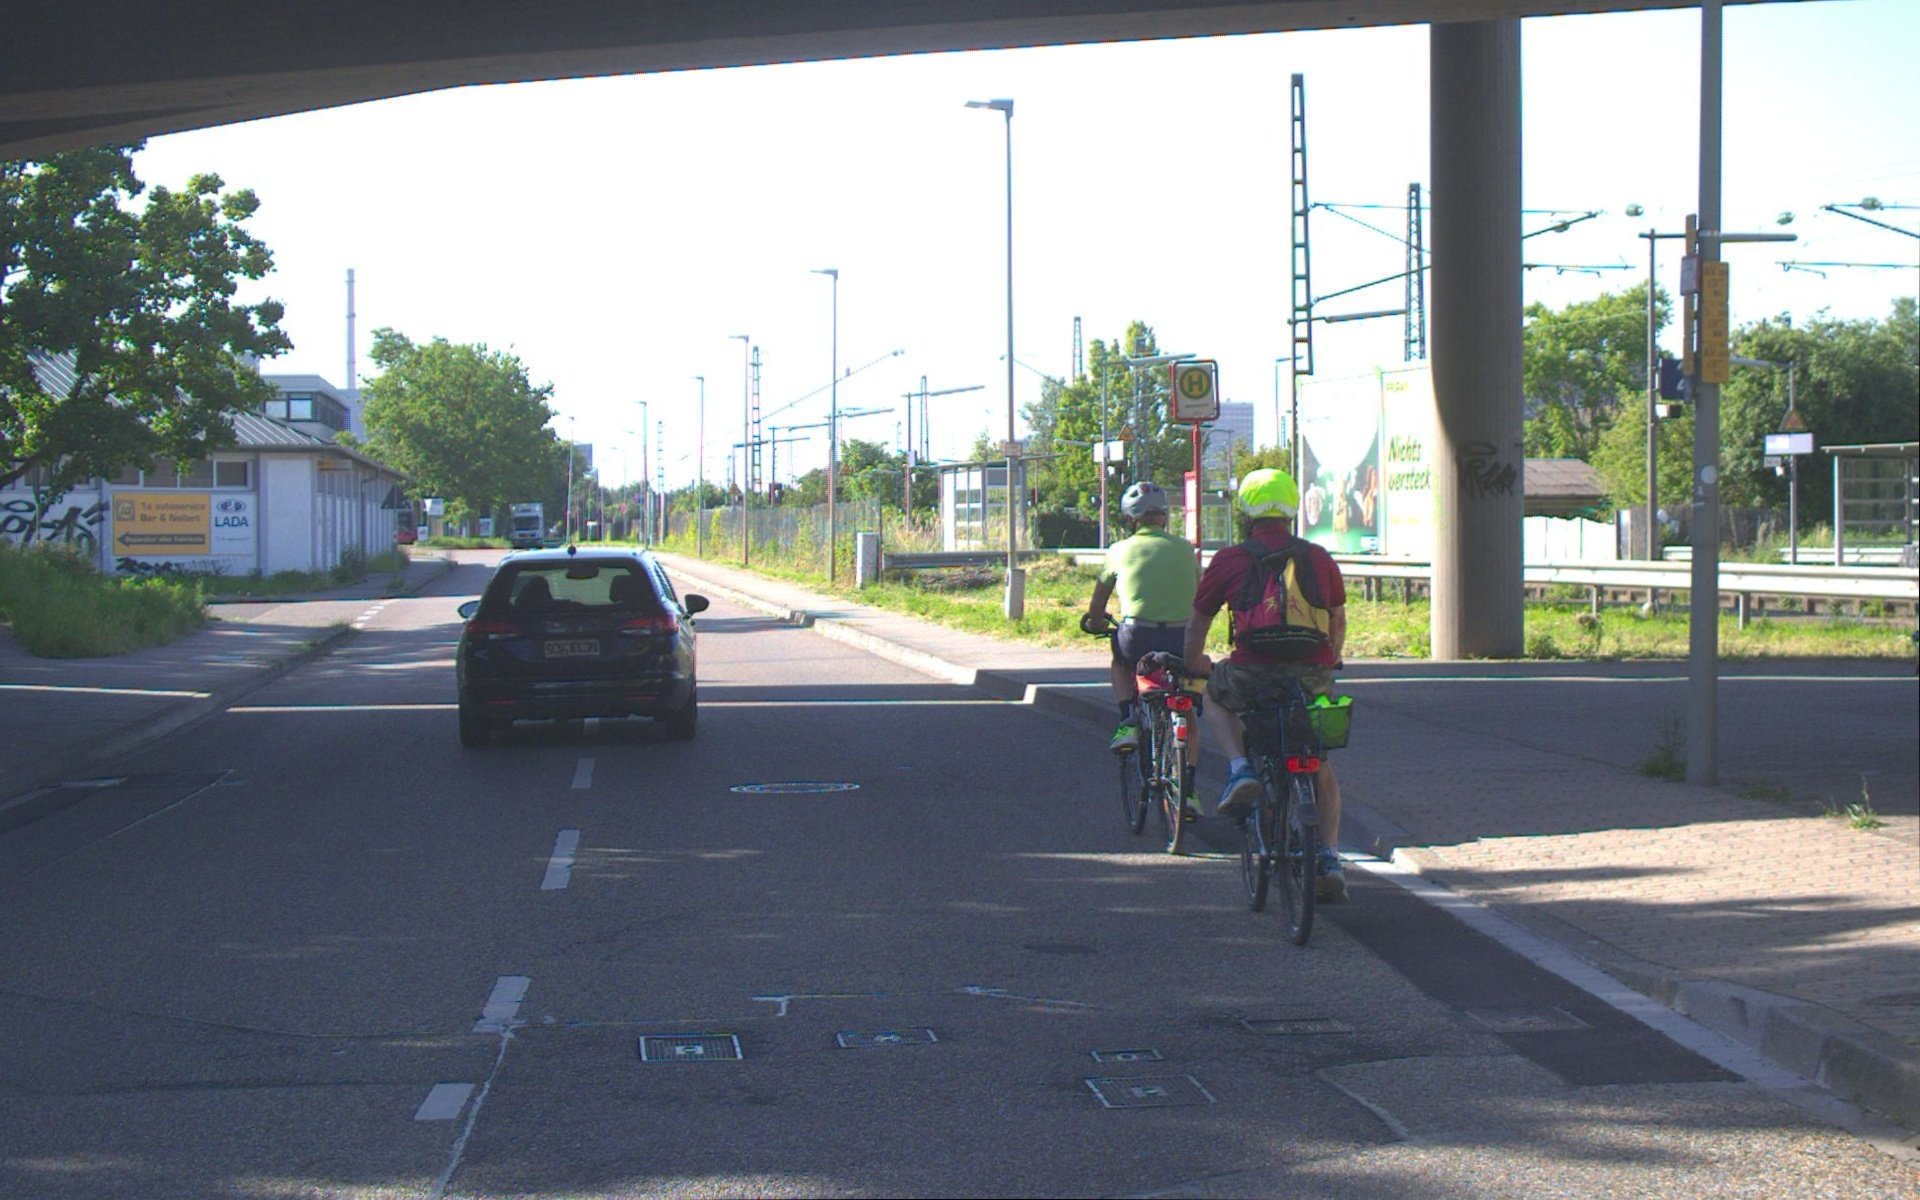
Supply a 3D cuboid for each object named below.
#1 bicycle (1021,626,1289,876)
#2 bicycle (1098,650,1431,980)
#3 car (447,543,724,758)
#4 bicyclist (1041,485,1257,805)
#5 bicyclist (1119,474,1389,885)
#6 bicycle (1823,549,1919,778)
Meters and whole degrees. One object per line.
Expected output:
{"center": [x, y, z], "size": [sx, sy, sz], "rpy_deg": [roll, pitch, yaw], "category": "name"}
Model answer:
{"center": [0.901, 0.685, 16.557], "size": [0.840, 1.048, 2.190], "rpy_deg": [-1, 1, -9], "category": "bicycle"}
{"center": [1.102, 0.761, 13.007], "size": [0.840, 1.048, 2.190], "rpy_deg": [-1, 1, -6], "category": "bicycle"}
{"center": [-2.896, 0.324, 26.963], "size": [1.942, 1.483, 4.566], "rpy_deg": [-2, 1, -5], "category": "car"}
{"center": [0.896, 0.197, 16.534], "size": [0.840, 1.483, 0.924], "rpy_deg": [-1, 1, -10], "category": "bicyclist"}
{"center": [1.094, 0.277, 12.985], "size": [0.840, 1.483, 0.924], "rpy_deg": [-1, 1, -6], "category": "bicyclist"}
{"center": [5.278, 0.331, 17.902], "size": [0.597, 1.178, 2.182], "rpy_deg": [-1, 1, -12], "category": "bicycle"}
